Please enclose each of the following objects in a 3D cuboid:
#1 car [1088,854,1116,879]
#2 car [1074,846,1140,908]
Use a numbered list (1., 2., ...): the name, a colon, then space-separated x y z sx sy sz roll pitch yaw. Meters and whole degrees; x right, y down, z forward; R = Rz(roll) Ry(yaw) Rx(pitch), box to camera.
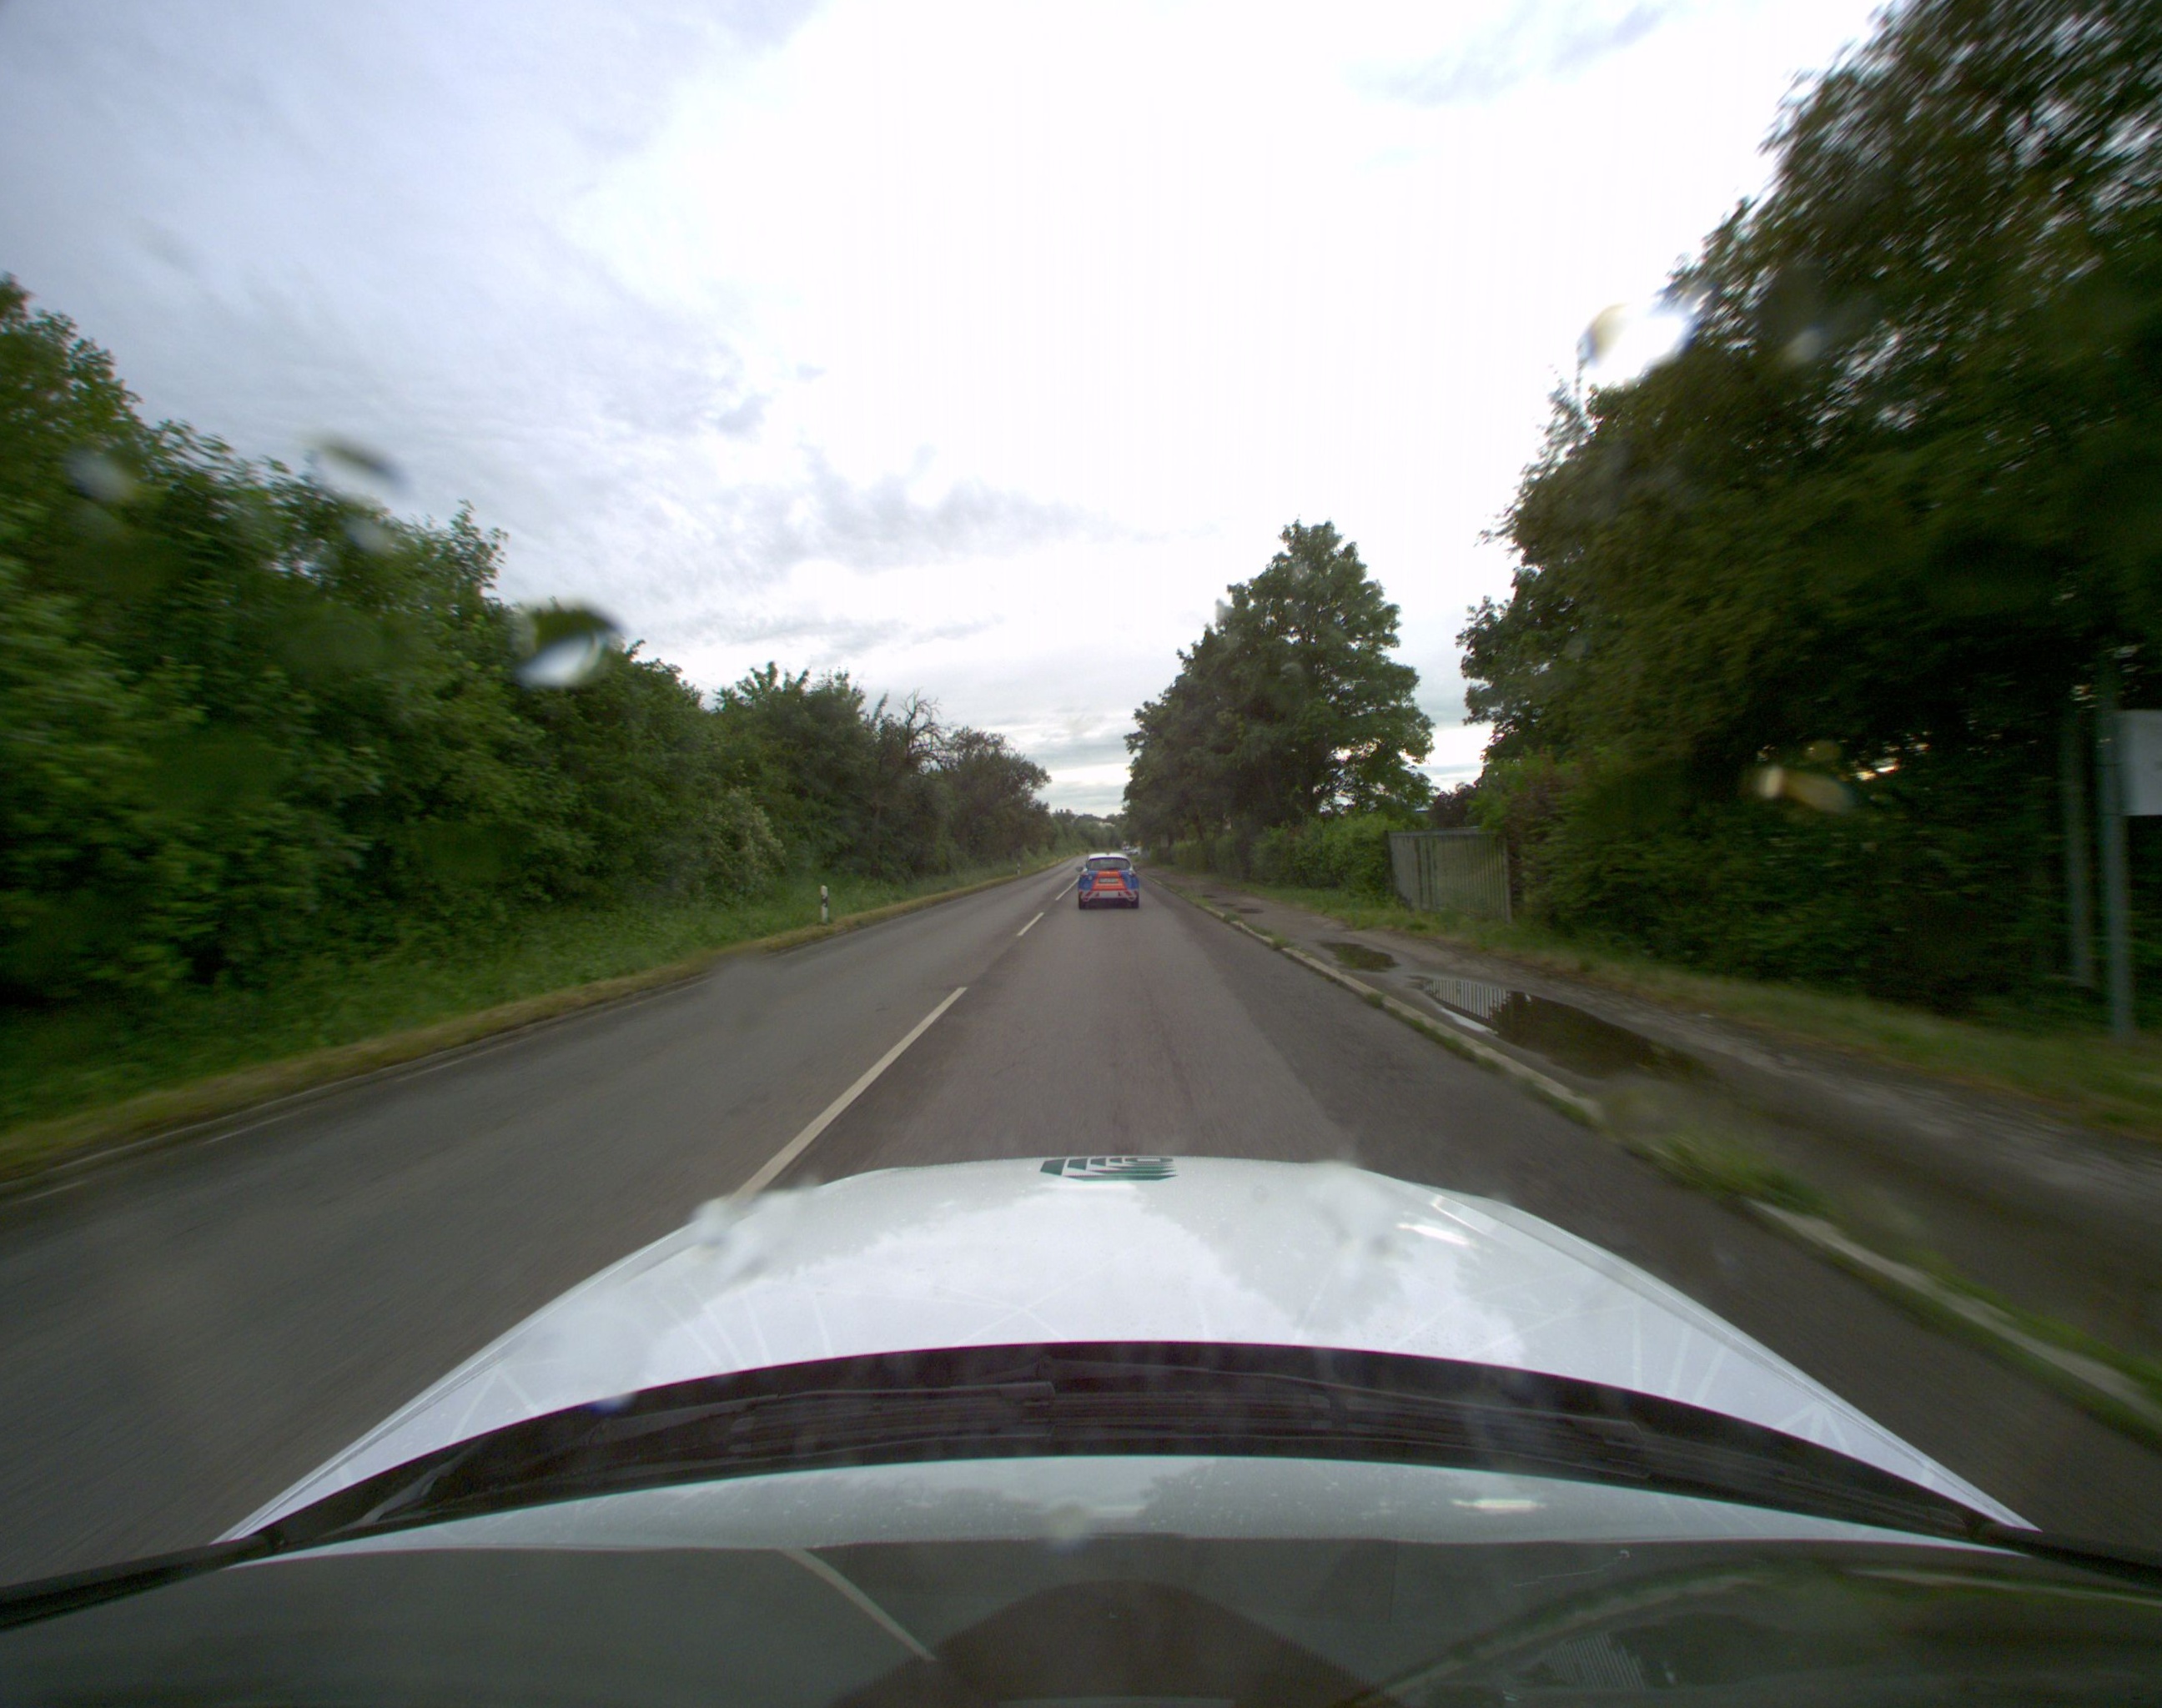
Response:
1. car: 1.350 0.782 52.347 1.688 1.595 3.857 0 0 1
2. car: 0.763 0.638 24.151 1.799 1.668 3.857 0 0 1
